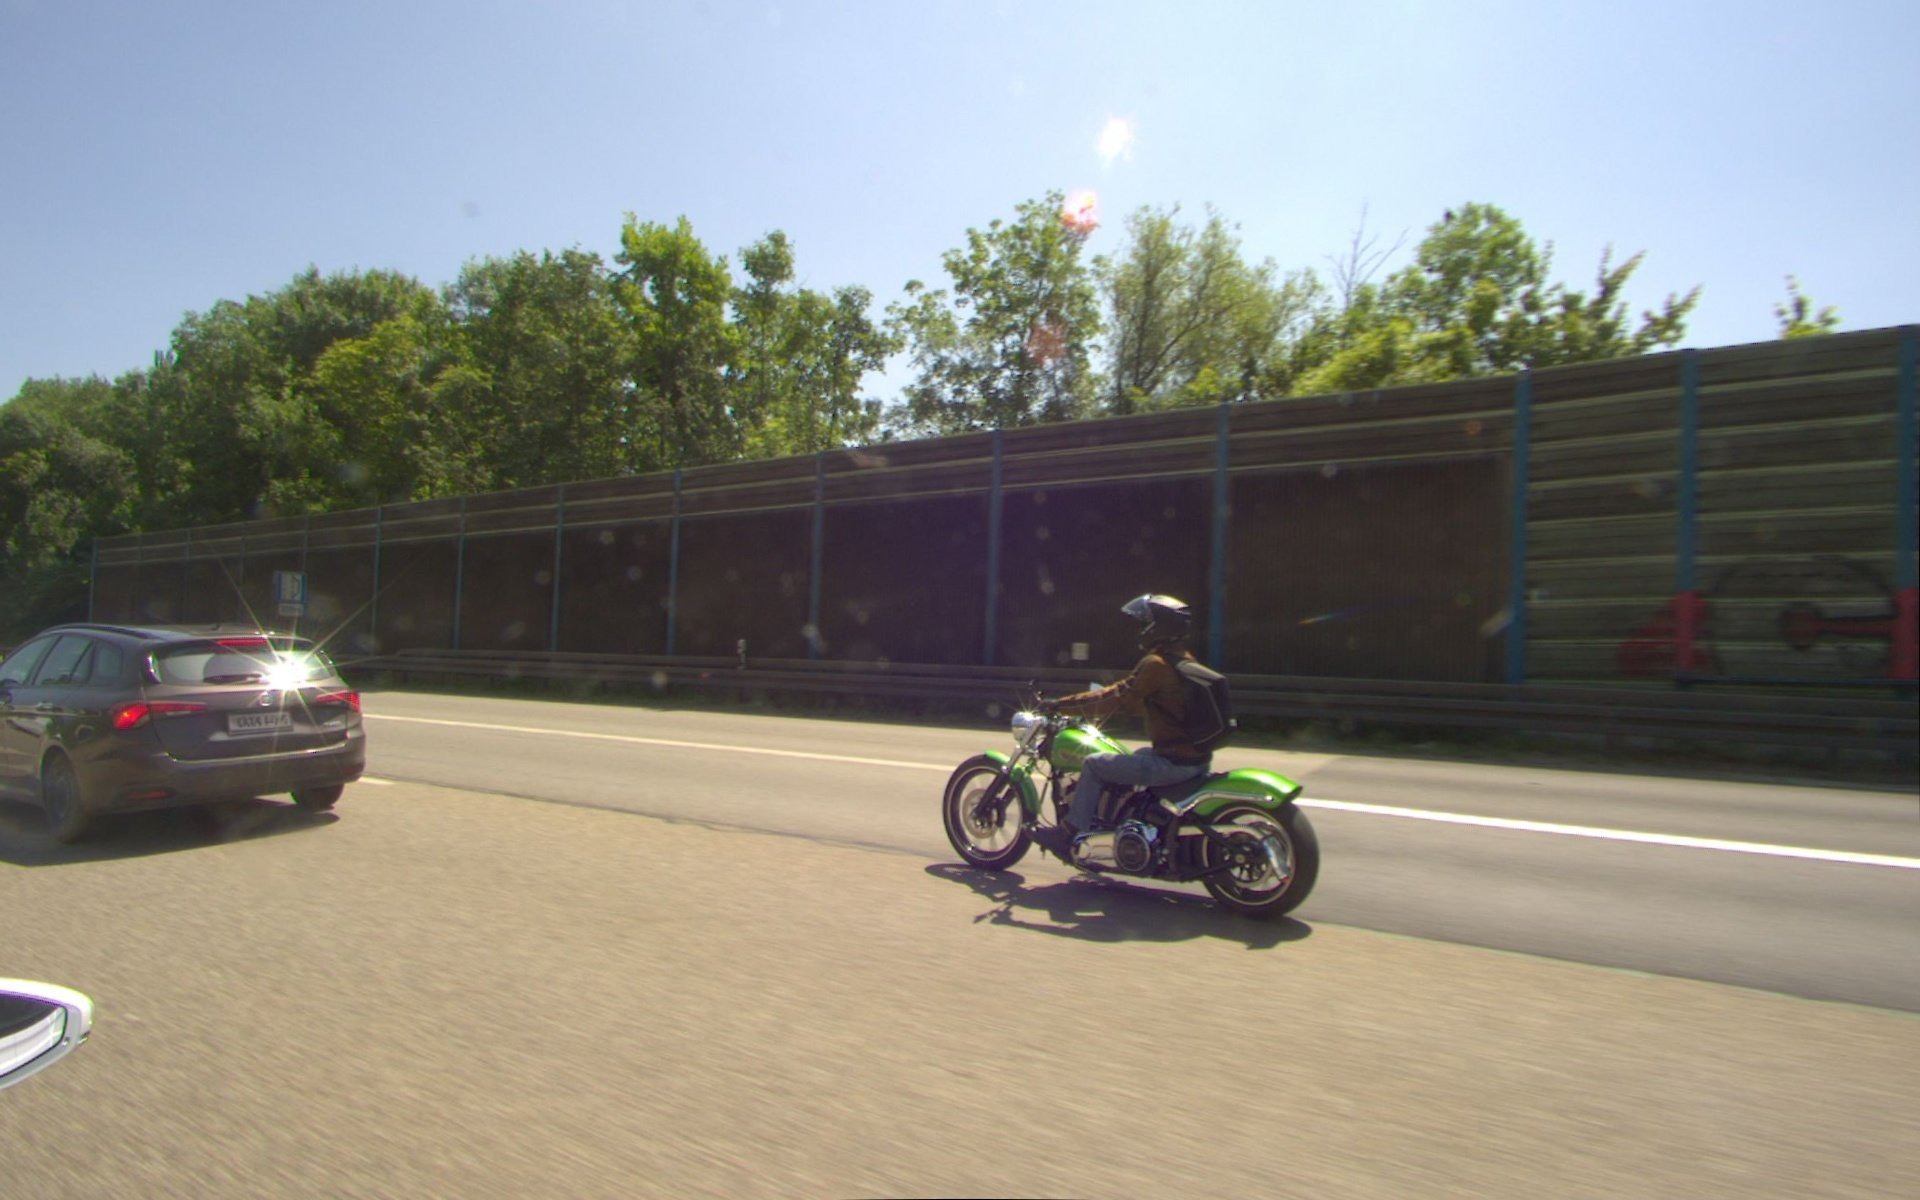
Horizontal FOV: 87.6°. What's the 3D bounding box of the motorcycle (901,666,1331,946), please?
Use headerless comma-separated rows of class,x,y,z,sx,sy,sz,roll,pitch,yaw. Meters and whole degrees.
motorcycle,0.816,1.018,5.642,2.246,1.197,0.857,0,-1,36

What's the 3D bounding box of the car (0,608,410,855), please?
car,-6.603,0.857,8.210,4.339,1.532,1.835,0,-1,33

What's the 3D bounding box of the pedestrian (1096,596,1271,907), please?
pedestrian,1.211,0.741,5.357,0.629,1.498,0.849,0,-1,35
